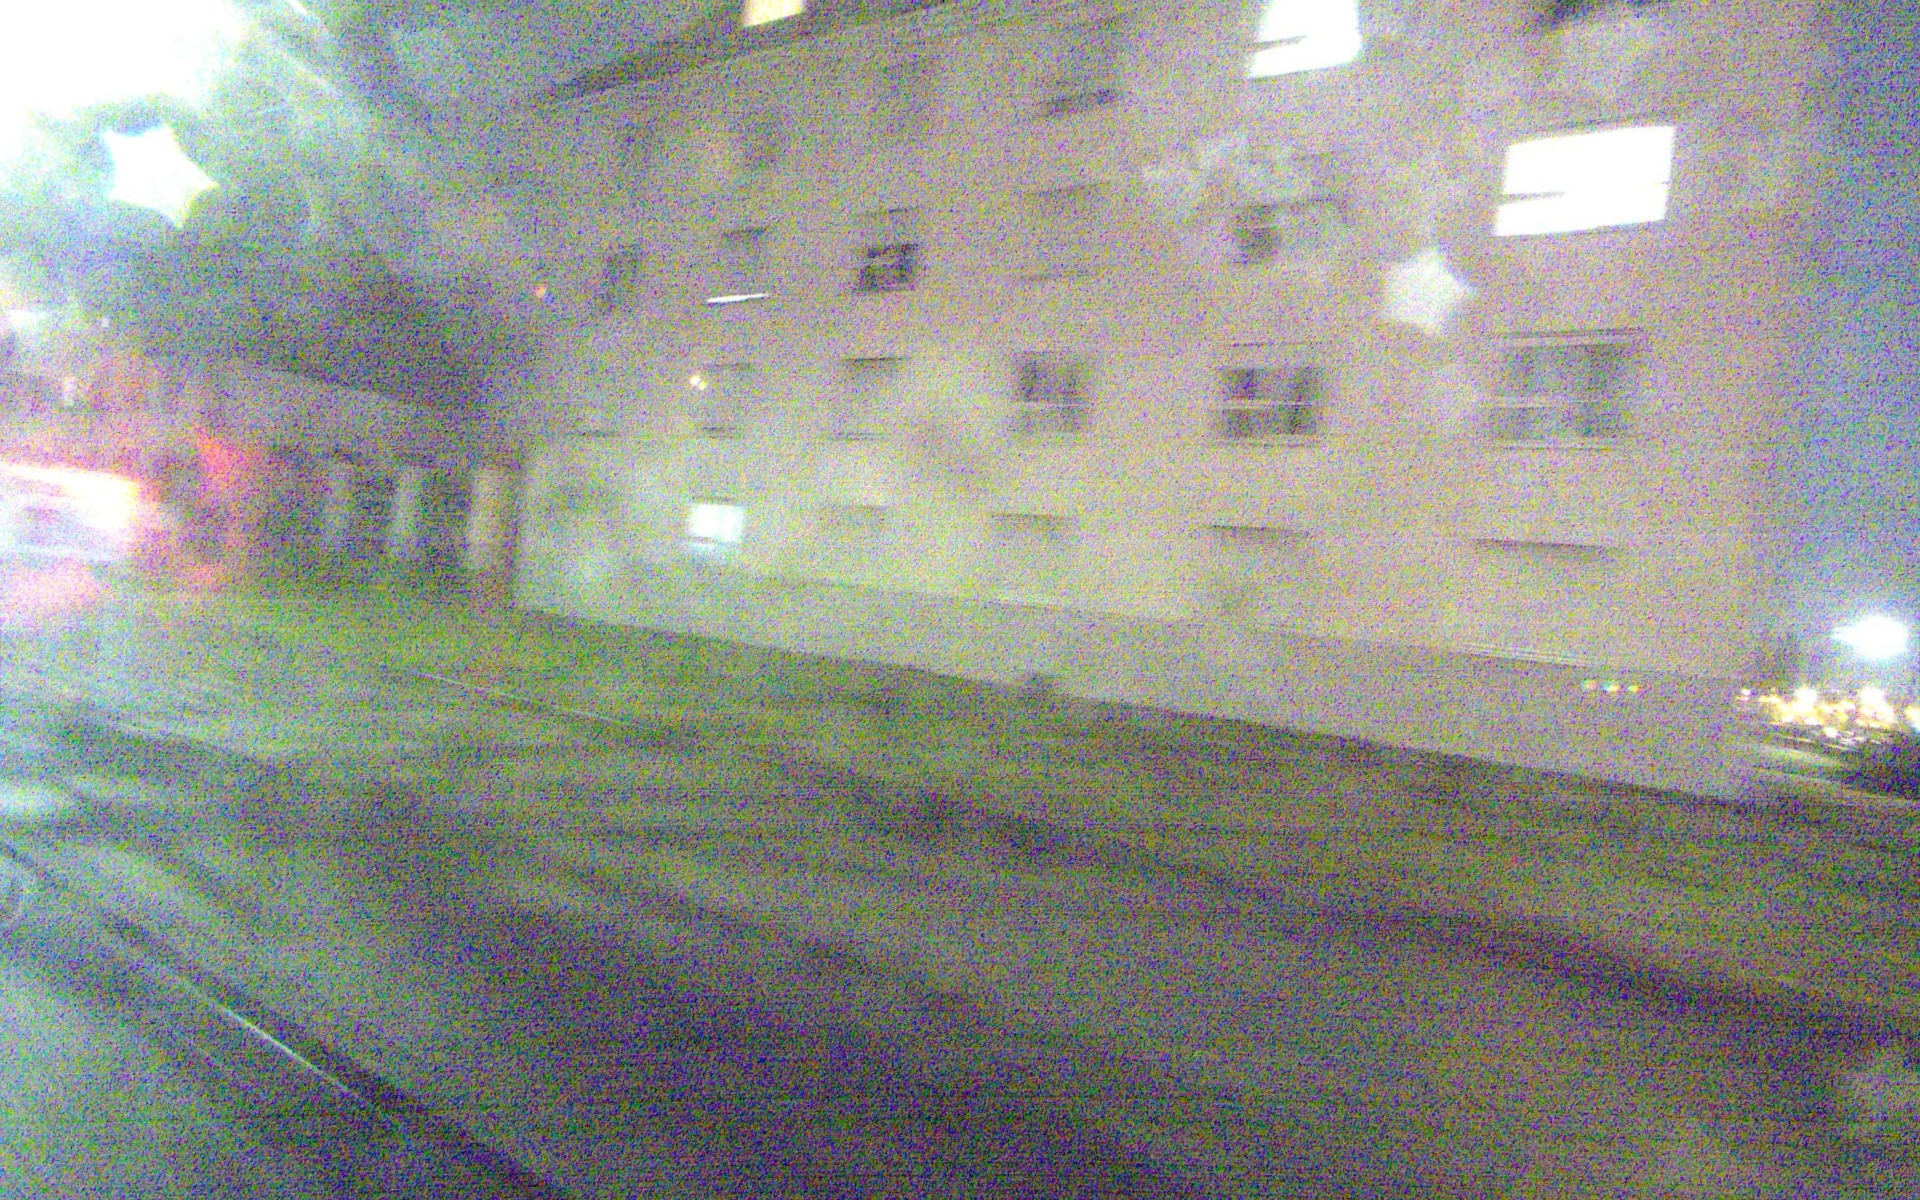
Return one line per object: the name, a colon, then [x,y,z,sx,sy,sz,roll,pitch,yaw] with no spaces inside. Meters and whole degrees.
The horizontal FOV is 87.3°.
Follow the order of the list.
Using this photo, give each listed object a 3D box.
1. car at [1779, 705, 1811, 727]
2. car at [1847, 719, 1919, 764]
car: [91.821,12.694,110.626,1.967,2.038,3.993,6,-1,32]
car: [41.345,6.256,43.450,4.116,1.517,1.996,6,0,31]
